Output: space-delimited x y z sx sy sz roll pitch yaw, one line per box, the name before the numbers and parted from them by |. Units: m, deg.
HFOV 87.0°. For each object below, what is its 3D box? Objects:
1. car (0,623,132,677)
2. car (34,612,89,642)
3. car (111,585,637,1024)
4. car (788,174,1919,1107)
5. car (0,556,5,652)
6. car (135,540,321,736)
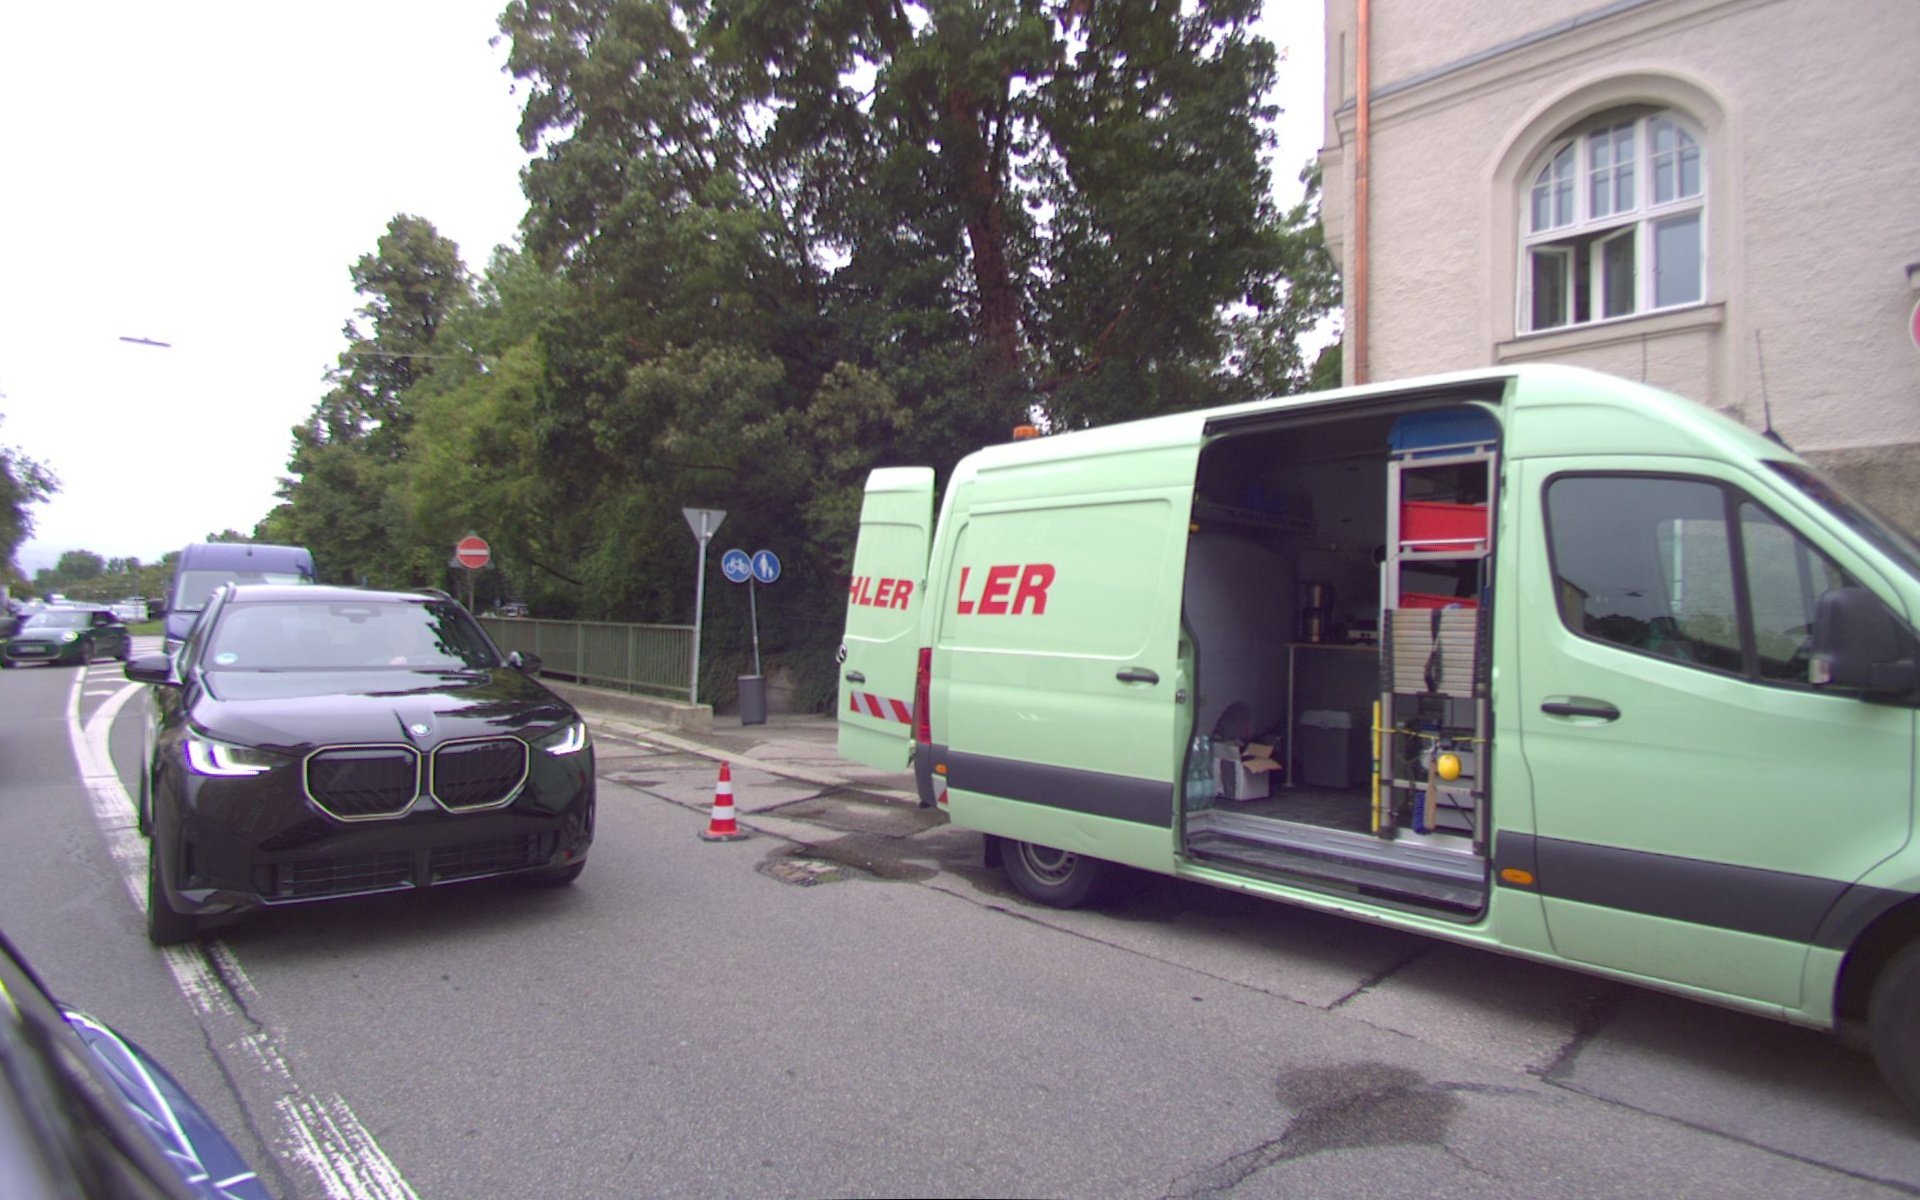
car | -22.649 1.211 25.703 1.470 1.223 3.623 1 -1 -22
car | -50.263 1.512 56.689 1.968 1.608 4.008 3 -3 -38
car | -3.655 0.768 5.923 1.892 1.577 4.302 2 -2 -39
car | 1.992 0.154 5.013 2.116 2.592 6.799 1 -2 -44
car | -10.168 0.558 9.325 1.800 2.115 5.639 3 -3 -42
car | -11.439 0.500 16.082 1.973 2.510 6.249 1 -1 -34
